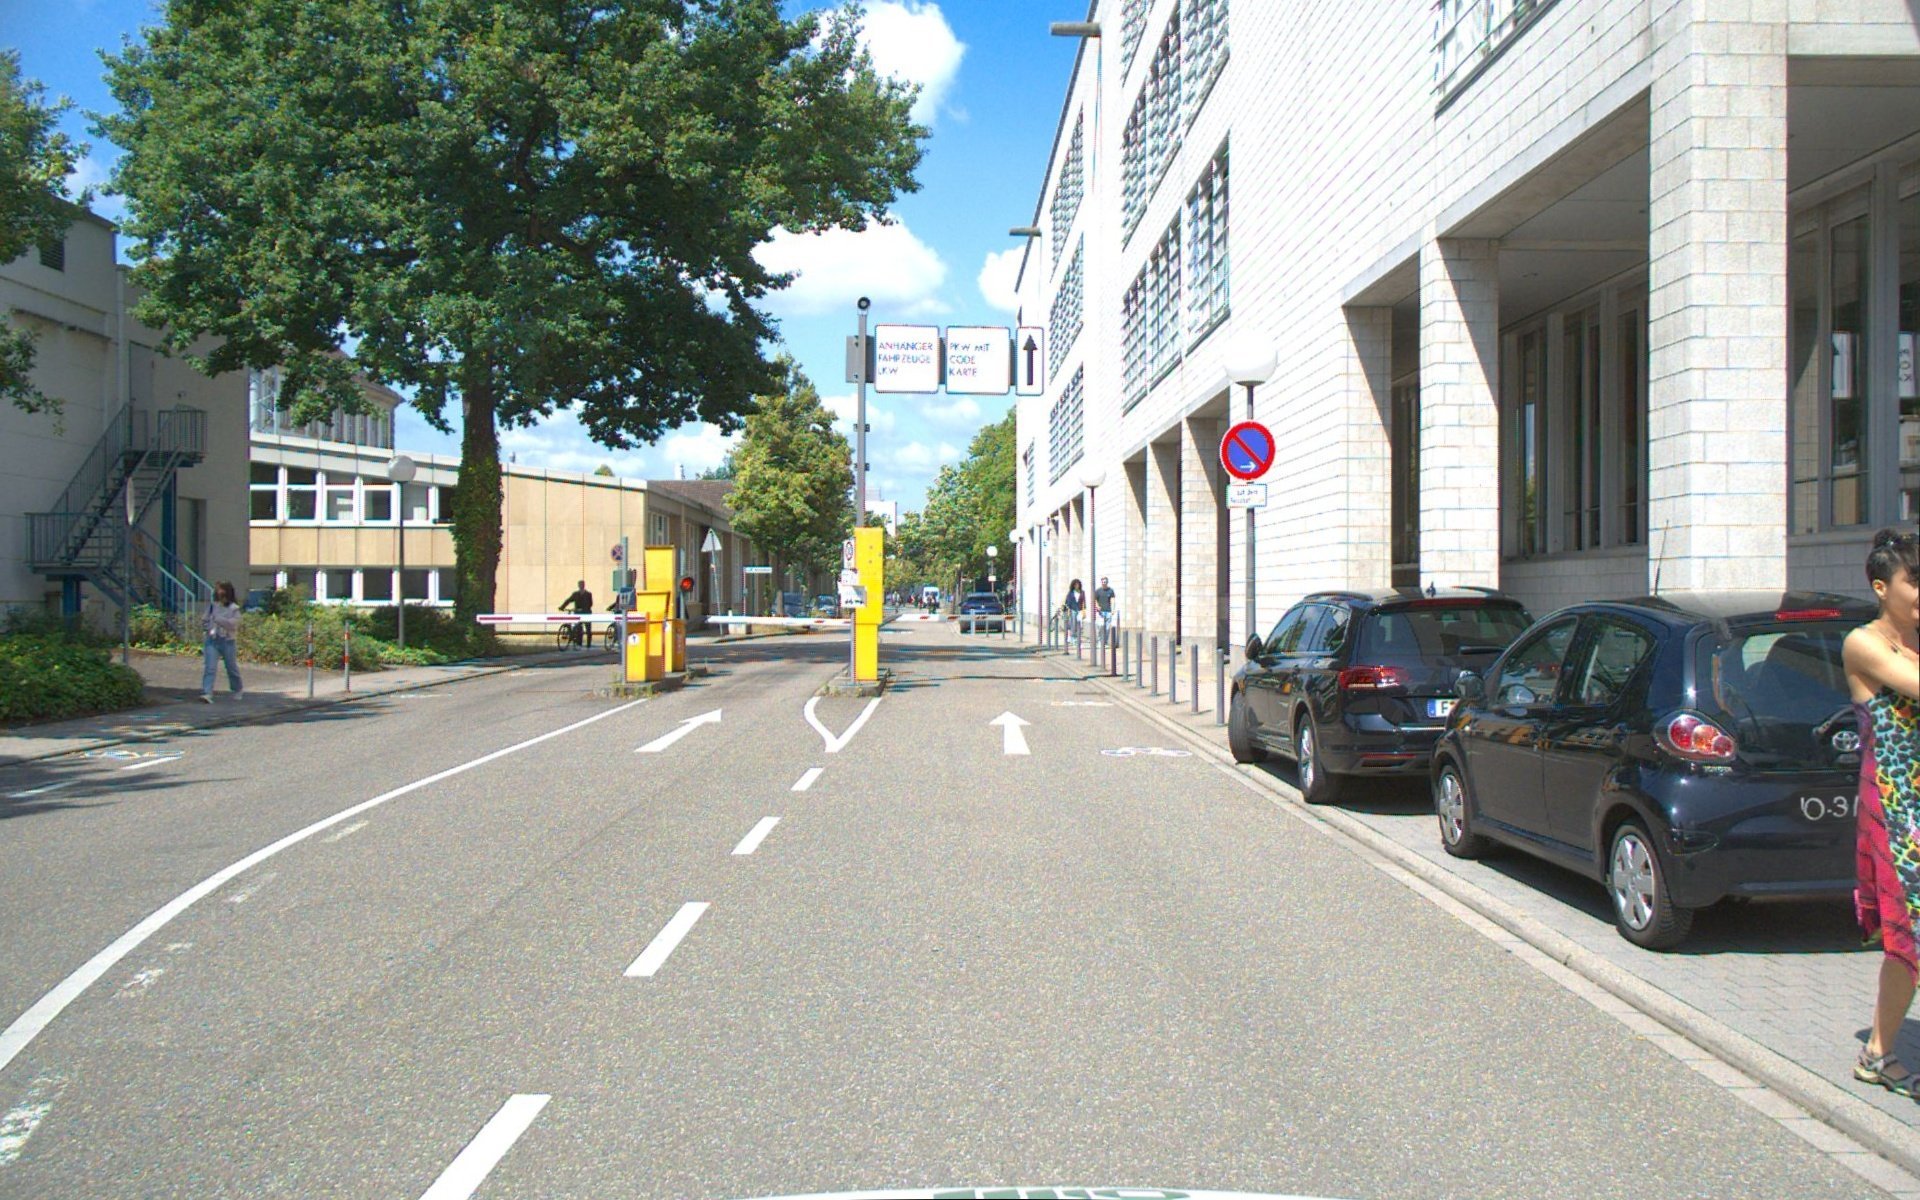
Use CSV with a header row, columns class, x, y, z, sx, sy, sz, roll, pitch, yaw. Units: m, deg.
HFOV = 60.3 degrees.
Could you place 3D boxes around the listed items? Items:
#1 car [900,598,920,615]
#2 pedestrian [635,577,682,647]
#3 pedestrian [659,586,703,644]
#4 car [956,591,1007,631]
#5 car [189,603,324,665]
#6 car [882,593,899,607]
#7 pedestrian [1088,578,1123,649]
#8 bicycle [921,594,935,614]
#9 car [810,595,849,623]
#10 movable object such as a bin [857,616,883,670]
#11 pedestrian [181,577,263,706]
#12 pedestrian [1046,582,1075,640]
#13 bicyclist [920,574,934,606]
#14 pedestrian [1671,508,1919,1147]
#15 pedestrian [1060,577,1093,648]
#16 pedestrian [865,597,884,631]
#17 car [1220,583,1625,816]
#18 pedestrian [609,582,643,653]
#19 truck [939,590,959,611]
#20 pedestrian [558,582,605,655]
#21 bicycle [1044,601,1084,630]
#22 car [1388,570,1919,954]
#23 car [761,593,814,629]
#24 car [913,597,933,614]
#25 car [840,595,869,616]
class,x,y,z,sx,sy,sz,roll,pitch,yaw
car,-5.601,0.715,185.541,1.952,1.751,4.000,-1,-2,1
pedestrian,-8.569,0.343,47.073,0.869,1.959,1.003,0,-1,33
pedestrian,-8.095,0.447,47.986,0.869,1.661,0.894,0,-1,33
car,0.839,0.434,67.366,1.953,1.573,4.211,0,0,-1
car,-18.146,0.835,42.887,1.792,1.492,4.297,0,0,-2
car,-9.612,-0.020,229.085,1.952,1.751,4.000,-1,-2,1
pedestrian,3.837,0.348,43.684,0.751,1.811,0.910,-2,0,-3
bicycle,-2.240,0.276,114.595,0.967,1.339,2.963,0,-2,-2
car,-7.571,0.527,96.356,1.953,1.573,4.211,0,0,-1
movable object such as a bin,-1.537,0.732,28.362,0.407,0.921,0.353,0,0,3
pedestrian,-9.723,0.535,21.813,0.699,1.655,0.883,0,0,-3
pedestrian,2.979,0.322,49.007,0.726,1.661,0.887,-2,0,-3
bicyclist,-2.283,-0.665,114.579,0.967,2.169,1.036,0,-2,-2
pedestrian,2.755,0.620,4.888,0.617,1.747,1.028,-1,0,-33
pedestrian,3.069,0.317,43.600,0.681,1.811,1.085,-2,0,-3
pedestrian,-4.094,0.672,79.233,0.876,1.661,0.887,0,-1,-3
car,3.345,0.634,12.945,1.828,1.490,4.519,0,0,-1
pedestrian,-8.674,0.444,43.004,0.691,1.841,1.001,0,0,-2
truck,-1.184,0.074,172.274,1.954,2.049,3.997,0,-2,-3
pedestrian,-9.833,0.470,42.993,1.035,1.847,0.806,0,0,-3
bicycle,4.053,0.590,64.359,1.511,1.085,0.648,-1,0,7
car,3.608,0.638,8.613,1.582,1.523,4.004,0,0,-2
car,-7.727,0.456,74.333,1.953,1.573,4.211,0,0,-1
car,-3.893,0.592,174.634,1.952,1.751,4.000,-1,-2,1
car,-7.914,0.406,124.488,1.953,1.573,4.211,0,0,-1
